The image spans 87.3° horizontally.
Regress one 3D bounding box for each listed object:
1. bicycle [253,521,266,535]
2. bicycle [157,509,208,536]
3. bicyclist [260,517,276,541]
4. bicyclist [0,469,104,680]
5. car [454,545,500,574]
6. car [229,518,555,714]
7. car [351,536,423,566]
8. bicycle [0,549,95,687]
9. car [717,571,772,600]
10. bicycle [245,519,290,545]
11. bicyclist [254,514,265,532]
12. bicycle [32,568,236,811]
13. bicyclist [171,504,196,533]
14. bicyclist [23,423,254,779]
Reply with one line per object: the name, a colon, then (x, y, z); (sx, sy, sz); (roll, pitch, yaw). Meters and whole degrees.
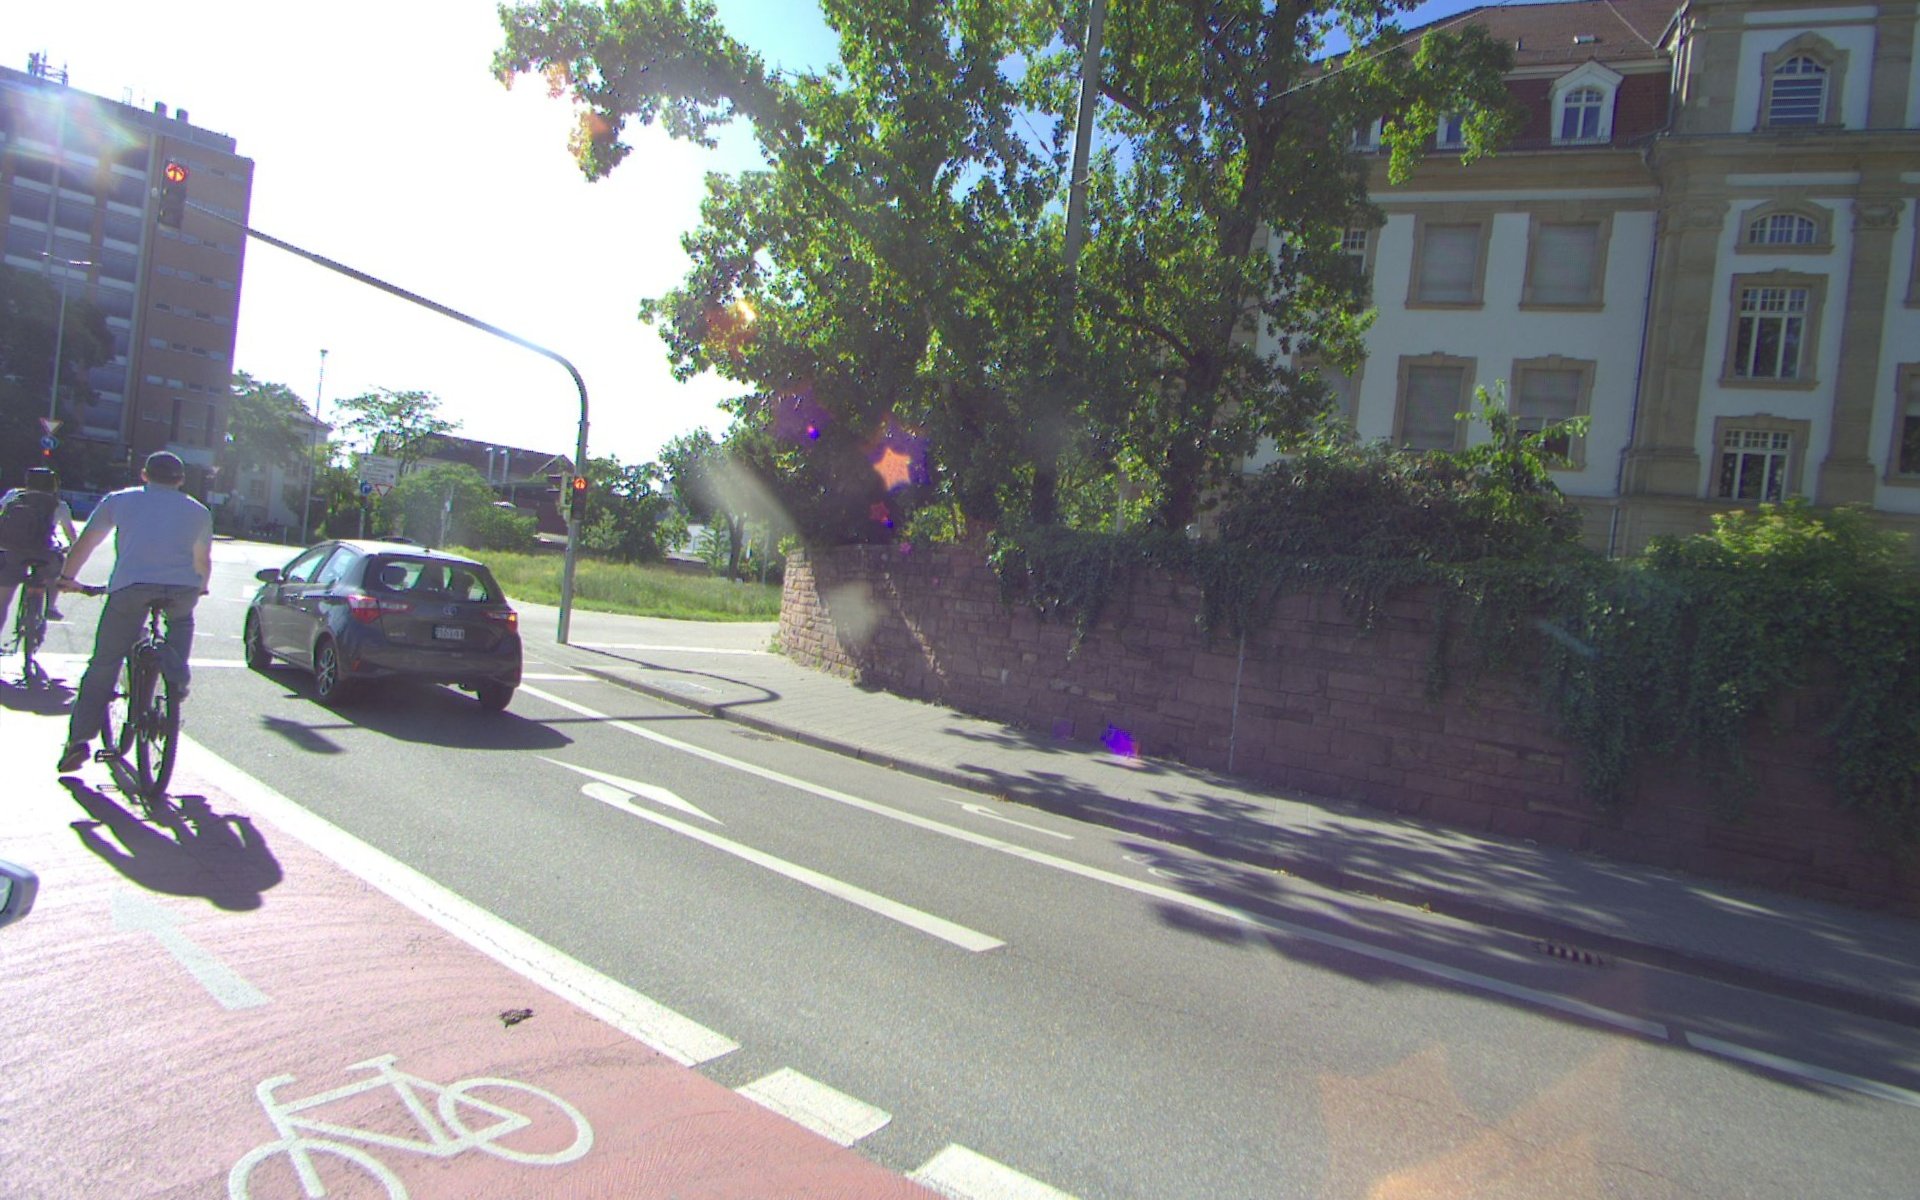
bicycle: (-61.610, -6.324, 88.459); (0.603, 1.106, 1.660); (6, 1, -27)
bicycle: (-57.539, -5.697, 74.507); (2.784, 1.559, 0.877); (8, -2, -34)
bicyclist: (-54.601, -5.597, 79.391); (0.852, 1.712, 0.877); (7, -1, -33)
bicyclist: (-7.869, -0.232, 8.529); (0.720, 1.645, 1.042); (8, -1, -44)
car: (-41.226, -3.413, 86.014); (1.872, 1.958, 3.864); (6, -2, 1)
car: (-5.965, 0.113, 10.413); (3.608, 1.560, 1.754); (6, -1, 42)
car: (-39.837, -3.398, 70.029); (4.202, 1.589, 1.809); (5, 1, -31)
bicycle: (-7.984, 0.115, 8.596); (0.721, 0.971, 1.860); (8, -1, -44)
car: (-19.458, -1.276, 90.859); (4.310, 2.037, 1.988); (7, -2, -27)
bicycle: (-54.606, -5.353, 79.404); (2.784, 1.559, 0.877); (8, -2, -34)
bicyclist: (-61.539, -6.727, 88.378); (0.613, 1.462, 0.813); (6, 1, -28)
bicycle: (-4.734, 0.443, 5.714); (1.806, 1.090, 0.609); (6, 0, 44)
bicyclist: (-57.488, -6.024, 74.505); (1.199, 1.919, 0.877); (7, -1, -33)
bicyclist: (-4.634, 0.008, 5.664); (1.001, 1.797, 0.748); (7, 0, 44)
